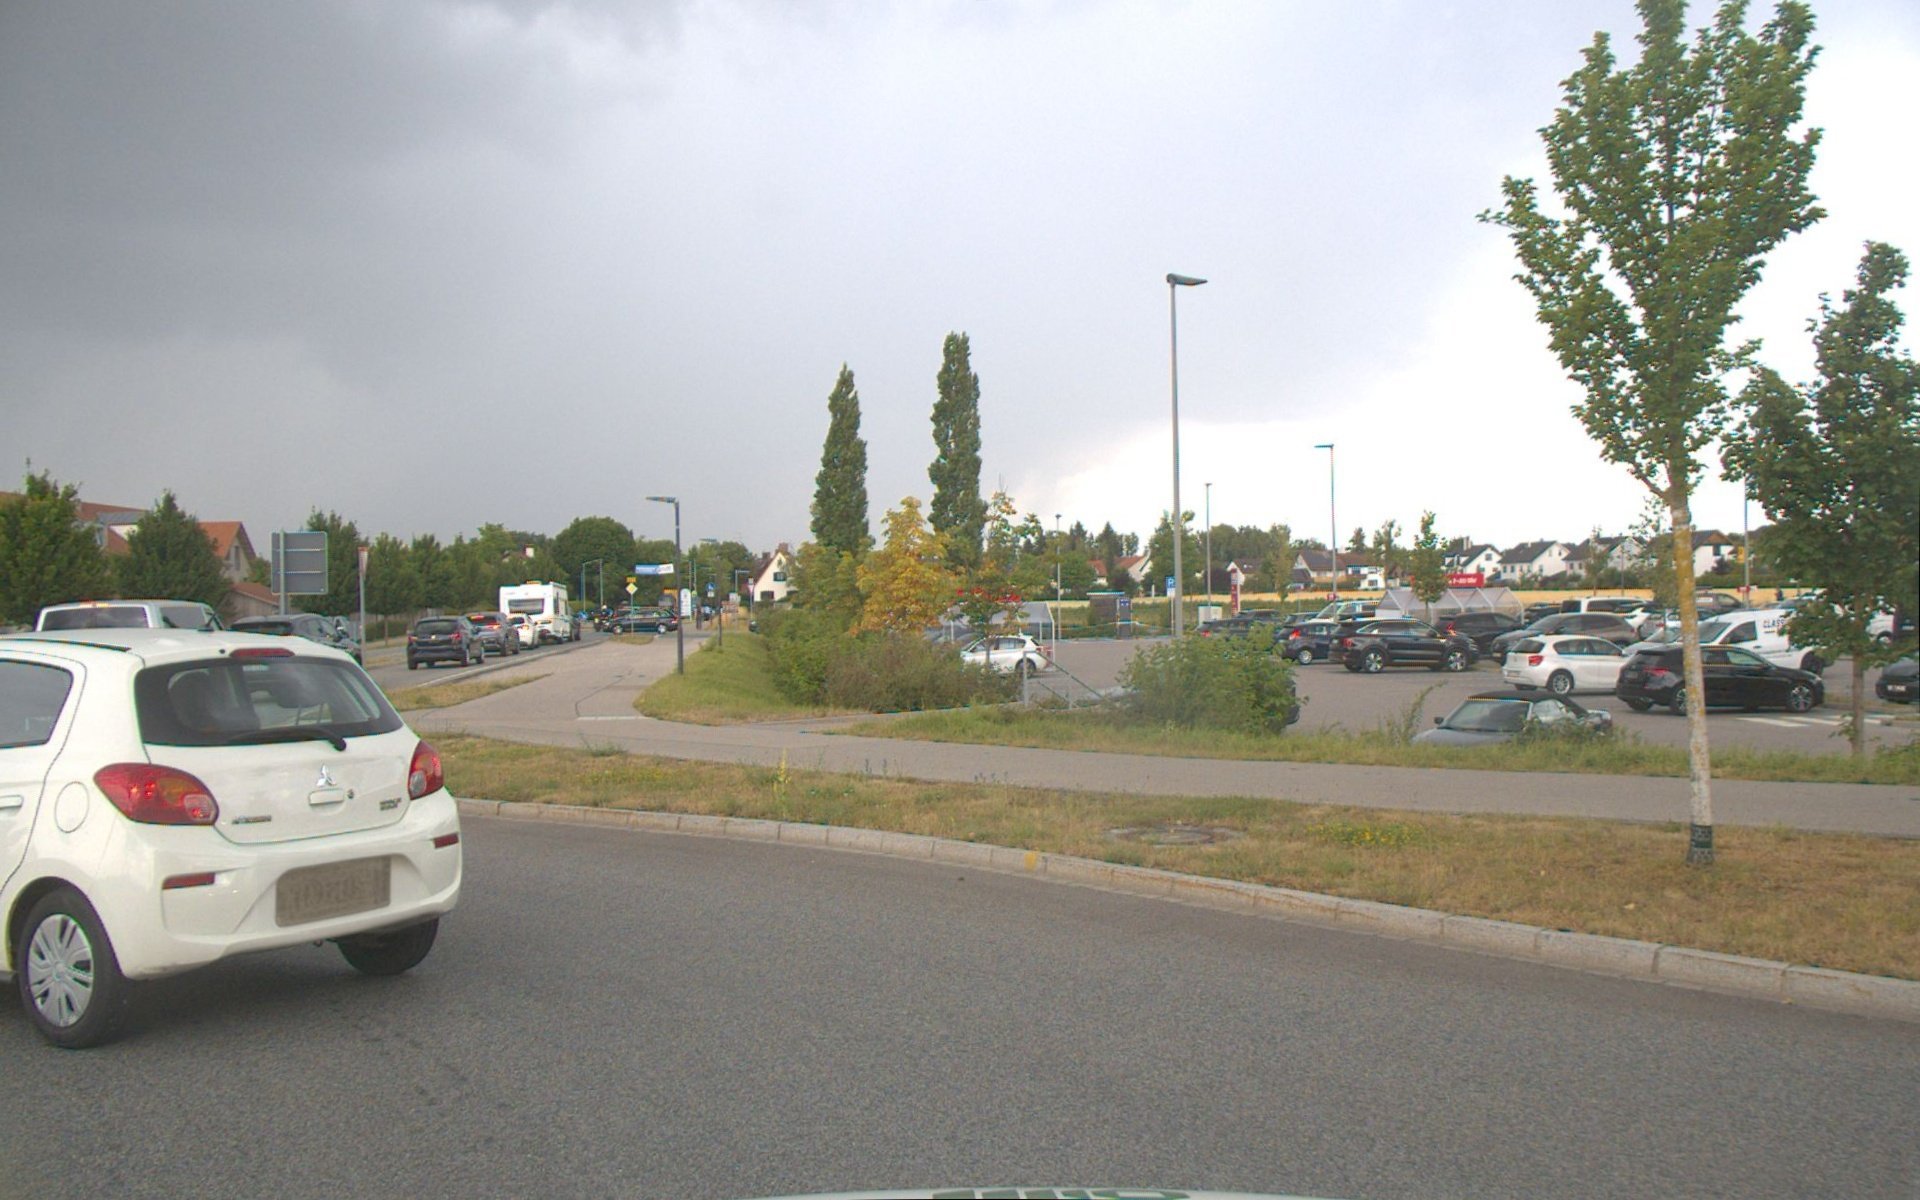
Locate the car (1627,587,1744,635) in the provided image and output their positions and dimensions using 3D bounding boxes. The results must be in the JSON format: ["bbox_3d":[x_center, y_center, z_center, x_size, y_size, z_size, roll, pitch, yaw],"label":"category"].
[{"bbox_3d":[29.706,0.460,67.768,3.909,1.870,1.998,-1,0,-5],"label":"car"}]

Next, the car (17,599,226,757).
[{"bbox_3d":[-12.287,1.061,24.517,1.838,1.967,3.983,-6,1,-15],"label":"car"}]

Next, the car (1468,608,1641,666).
[{"bbox_3d":[19.253,1.172,53.667,4.881,1.693,1.996,-2,0,-8],"label":"car"}]

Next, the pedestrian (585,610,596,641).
[{"bbox_3d":[-24.719,1.684,110.783,0.567,2.049,0.681,1,-1,-1],"label":"pedestrian"}]

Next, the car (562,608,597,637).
[{"bbox_3d":[-27.497,1.597,119.519,1.955,2.049,3.995,-1,0,-6],"label":"car"}]

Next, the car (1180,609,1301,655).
[{"bbox_3d":[11.438,1.307,67.624,4.471,1.693,1.997,-2,0,-8],"label":"car"}]

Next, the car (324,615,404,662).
[{"bbox_3d":[-19.861,1.253,55.216,1.744,1.459,3.794,-2,0,-9],"label":"car"}]

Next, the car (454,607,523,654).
[{"bbox_3d":[-16.088,1.019,56.583,1.744,1.459,3.794,-2,0,-9],"label":"car"}]

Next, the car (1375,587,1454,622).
[{"bbox_3d":[26.051,0.245,94.835,3.908,1.870,1.998,-2,0,-4],"label":"car"}]

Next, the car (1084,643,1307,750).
[{"bbox_3d":[4.583,1.849,32.356,3.923,1.633,1.785,-1,8,-16],"label":"car"}]

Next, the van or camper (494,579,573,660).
[{"bbox_3d":[-18.892,0.875,73.581,2.575,3.382,6.809,-1,-1,-8],"label":"van or camper"}]

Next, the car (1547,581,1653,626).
[{"bbox_3d":[28.348,0.140,73.314,3.909,1.870,1.998,-2,0,-4],"label":"car"}]

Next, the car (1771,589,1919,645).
[{"bbox_3d":[31.843,0.607,58.781,5.186,1.863,1.997,-1,-1,-8],"label":"car"}]

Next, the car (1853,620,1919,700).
[{"bbox_3d":[21.554,1.225,35.618,3.918,1.580,1.726,-1,0,-13],"label":"car"}]

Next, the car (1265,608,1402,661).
[{"bbox_3d":[13.257,1.209,58.838,4.321,1.693,1.997,-2,0,-8],"label":"car"}]

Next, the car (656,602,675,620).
[{"bbox_3d":[-31.933,1.192,179.321,1.957,1.870,3.991,-1,0,-9],"label":"car"}]

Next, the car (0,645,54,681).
[{"bbox_3d":[-43.536,2.879,75.250,3.662,1.508,1.682,-1,0,-11],"label":"car"}]

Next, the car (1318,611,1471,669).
[{"bbox_3d":[13.823,1.258,52.745,4.367,1.736,1.800,-1,0,-8],"label":"car"}]

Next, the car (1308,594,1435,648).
[{"bbox_3d":[17.850,0.883,71.753,5.030,2.048,1.990,-2,1,-18],"label":"car"}]

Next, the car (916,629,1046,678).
[{"bbox_3d":[0.684,1.790,56.342,4.153,1.465,1.997,-2,0,-8],"label":"car"}]

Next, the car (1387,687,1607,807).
[{"bbox_3d":[7.880,2.073,24.115,1.554,1.396,3.705,-1,0,45],"label":"car"}]

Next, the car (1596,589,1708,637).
[{"bbox_3d":[29.478,0.550,70.522,3.908,1.870,1.998,-2,0,-4],"label":"car"}]

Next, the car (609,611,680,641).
[{"bbox_3d":[-18.379,1.504,96.570,3.912,1.646,1.996,1,0,-8],"label":"car"}]

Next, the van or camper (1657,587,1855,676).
[{"bbox_3d":[21.708,0.833,45.135,4.706,2.135,1.760,-3,-1,-12],"label":"van or camper"}]

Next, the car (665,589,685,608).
[{"bbox_3d":[-35.699,-0.165,207.207,1.954,2.250,3.998,-1,0,-3],"label":"car"}]

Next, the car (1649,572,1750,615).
[{"bbox_3d":[34.714,-0.297,77.700,3.908,1.872,1.873,-2,0,-4],"label":"car"}]

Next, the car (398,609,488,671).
[{"bbox_3d":[-14.771,1.109,47.420,1.743,1.646,3.993,-2,0,-7],"label":"car"}]

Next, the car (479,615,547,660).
[{"bbox_3d":[-17.580,1.444,65.189,1.955,1.624,3.995,0,0,-6],"label":"car"}]

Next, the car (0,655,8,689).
[{"bbox_3d":[-40.611,2.979,66.281,3.843,1.338,1.838,-2,0,-10],"label":"car"}]

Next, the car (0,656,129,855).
[{"bbox_3d":[-8.128,1.210,14.004,1.764,1.416,4.092,1,-2,-29],"label":"car"}]

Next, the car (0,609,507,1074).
[{"bbox_3d":[-3.754,0.852,7.057,3.324,1.545,1.630,-2,-1,29],"label":"car"}]

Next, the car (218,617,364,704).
[{"bbox_3d":[-13.486,1.178,33.561,1.743,1.646,3.994,0,-1,-7],"label":"car"}]

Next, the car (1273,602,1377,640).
[{"bbox_3d":[16.425,0.932,74.609,4.229,1.605,1.765,-2,0,-6],"label":"car"}]

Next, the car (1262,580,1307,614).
[{"bbox_3d":[20.534,-0.176,104.828,1.953,2.049,3.999,1,0,-1],"label":"car"}]

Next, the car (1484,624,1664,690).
[{"bbox_3d":[15.278,1.392,41.201,3.913,1.511,1.678,-1,0,-12],"label":"car"}]

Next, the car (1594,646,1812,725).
[{"bbox_3d":[15.812,1.784,35.252,3.917,1.422,1.831,-2,0,-12],"label":"car"}]
